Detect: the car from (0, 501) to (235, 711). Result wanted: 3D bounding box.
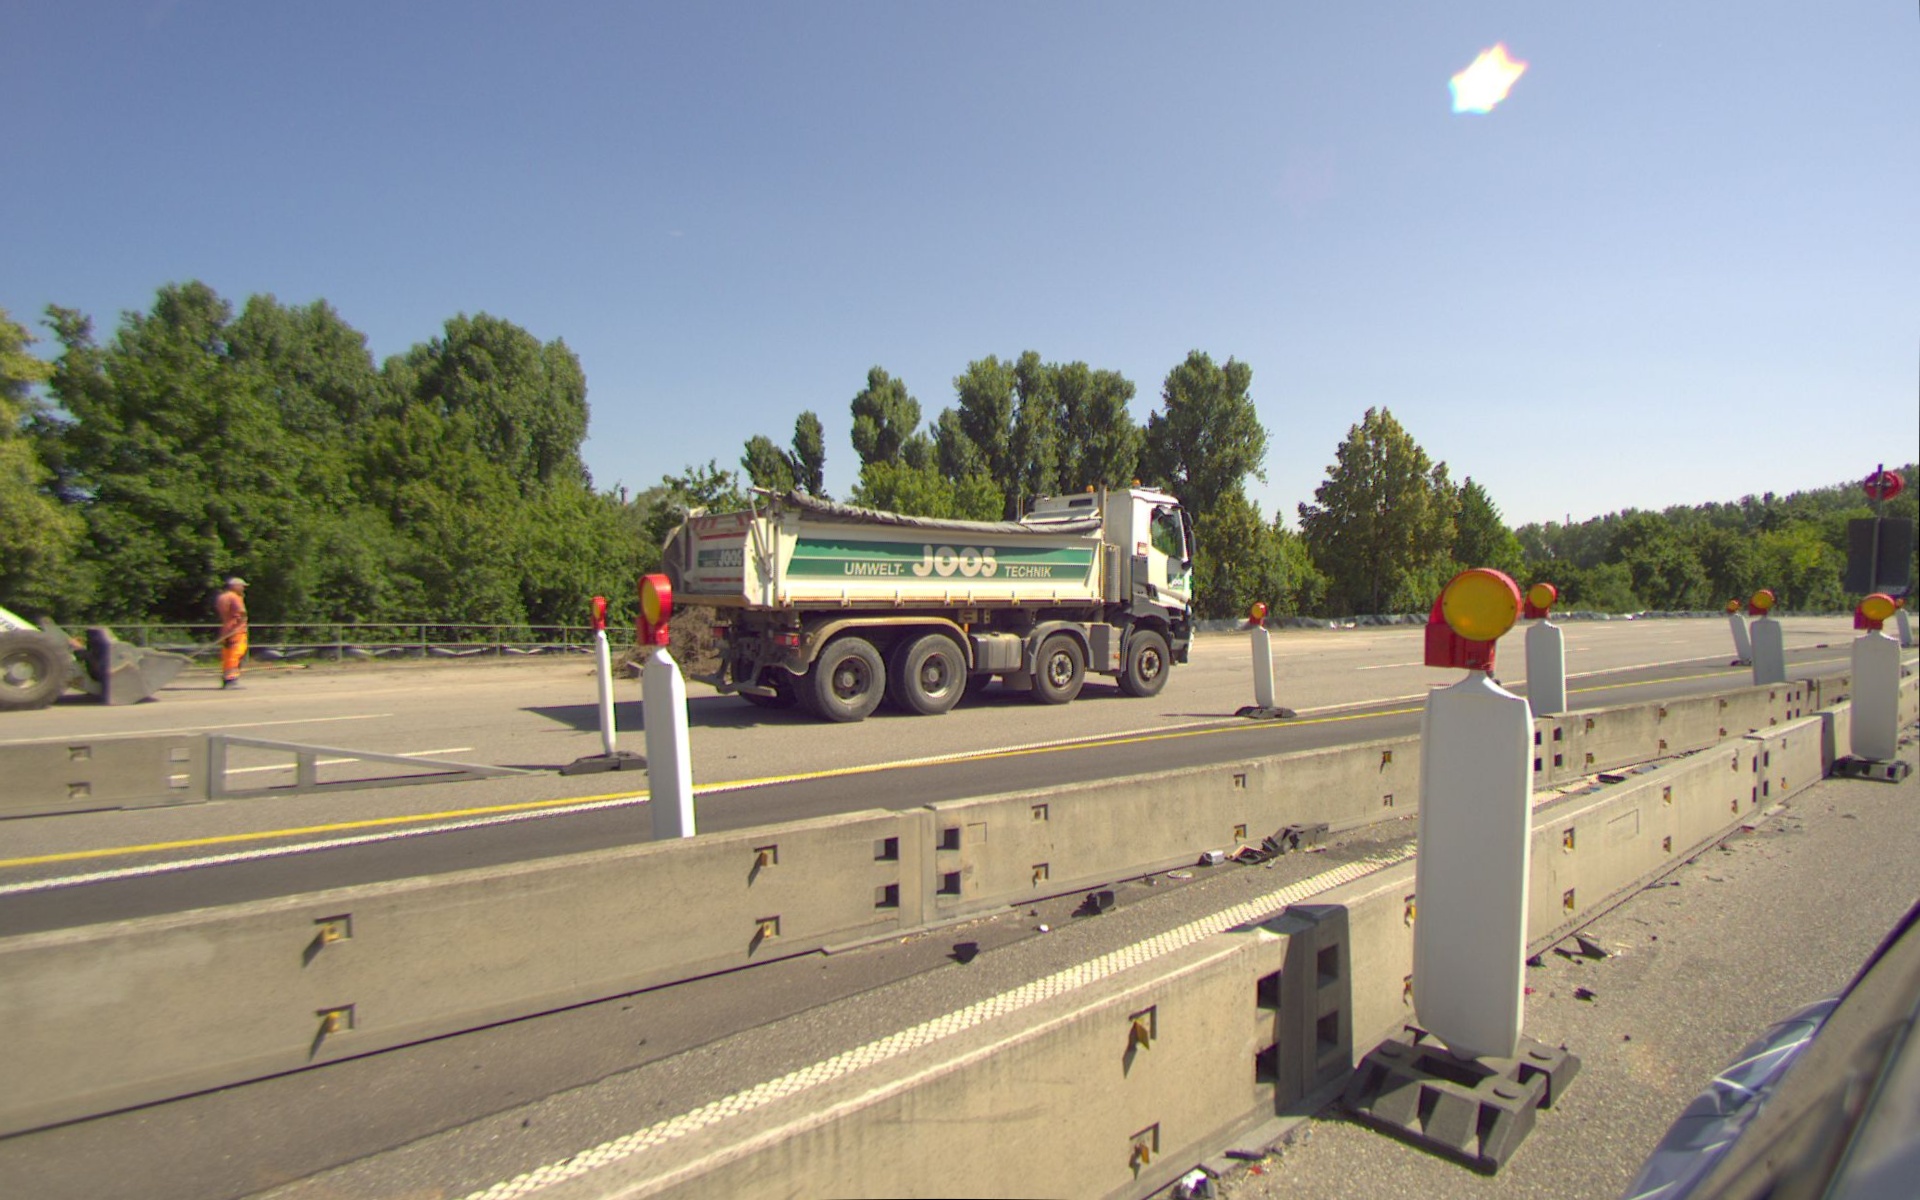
[{"bbox_3d":[-13.301,0.069,13.277,2.104,2.675,5.892,1,1,43],"label":"car"}]

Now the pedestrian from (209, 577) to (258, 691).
[{"bbox_3d":[-11.622,0.527,16.183,0.664,1.770,0.523,0,0,44],"label":"pedestrian"}]

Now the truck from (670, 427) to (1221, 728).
[{"bbox_3d":[0.228,-0.308,15.373,8.576,3.475,2.606,0,1,-38],"label":"truck"}]
